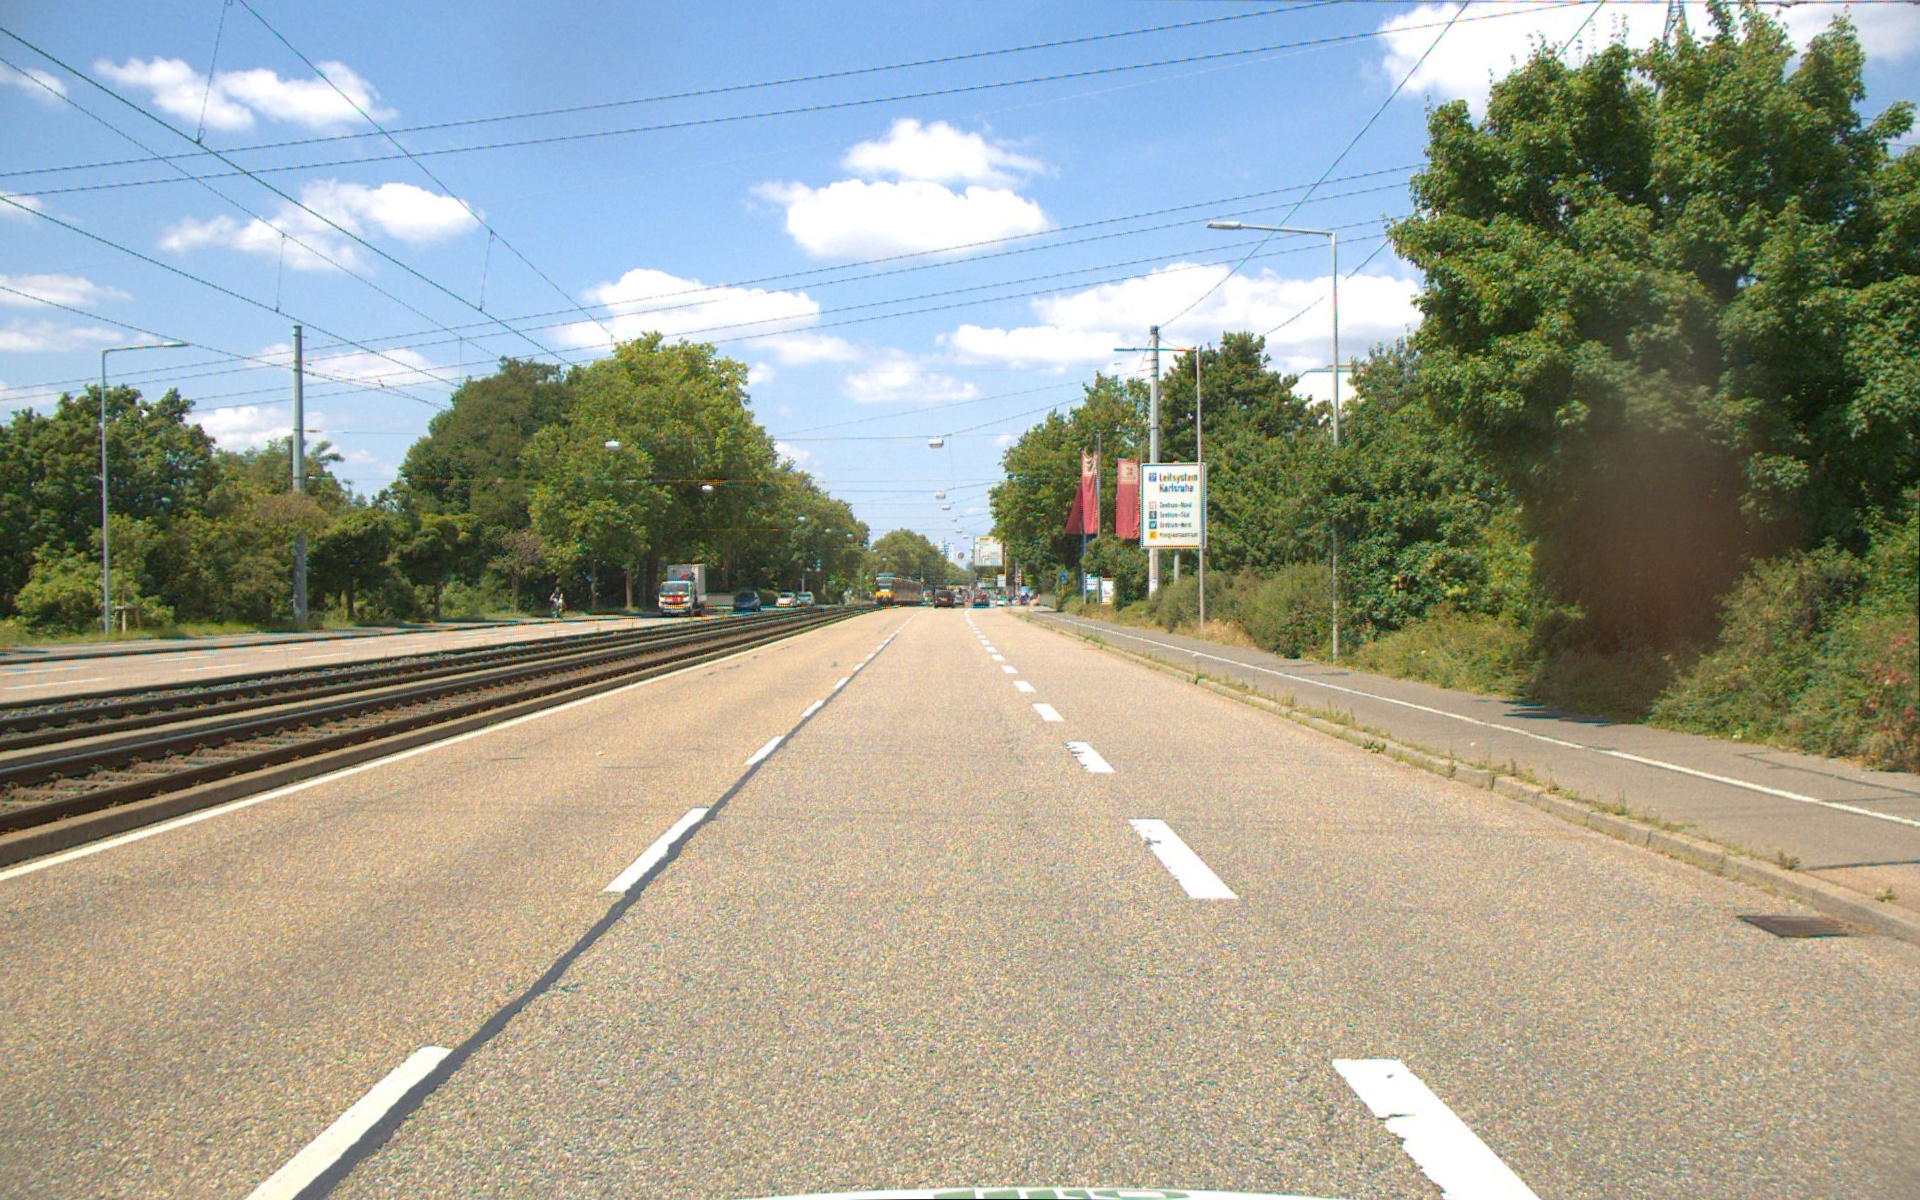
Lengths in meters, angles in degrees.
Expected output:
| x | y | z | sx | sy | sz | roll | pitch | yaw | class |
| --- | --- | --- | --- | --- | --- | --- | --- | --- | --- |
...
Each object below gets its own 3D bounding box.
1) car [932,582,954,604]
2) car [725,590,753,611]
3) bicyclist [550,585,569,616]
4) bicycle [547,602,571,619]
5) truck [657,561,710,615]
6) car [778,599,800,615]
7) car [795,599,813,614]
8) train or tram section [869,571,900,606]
| x | y | z | sx | sy | sz | roll | pitch | yaw | class |
| --- | --- | --- | --- | --- | --- | --- | --- | --- | --- |
| -1.530 | -0.586 | 147.286 | 1.861 | 1.837 | 3.975 | 2 | 0 | -1 | car |
| -16.828 | 0.028 | 126.111 | 1.717 | 1.562 | 3.956 | -1 | 0 | -2 | car |
| -21.470 | 0.022 | 88.586 | 0.637 | 1.648 | 1.156 | 2 | 0 | 3 | bicyclist |
| -21.486 | 0.566 | 88.670 | 0.637 | 0.874 | 2.121 | 2 | 0 | 3 | bicycle |
| -17.332 | -0.733 | 103.844 | 2.203 | 3.293 | 6.042 | 0 | 0 | 1 | truck |
| -15.900 | 0.648 | 154.264 | 1.603 | 1.446 | 4.127 | -1 | 0 | 0 | car |
| -16.258 | 0.664 | 172.508 | 1.603 | 1.461 | 3.720 | -1 | 0 | -1 | car |
| -9.466 | -1.426 | 208.493 | 2.985 | 4.342 | 15.424 | 0 | 0 | 1 | train or tram section |
